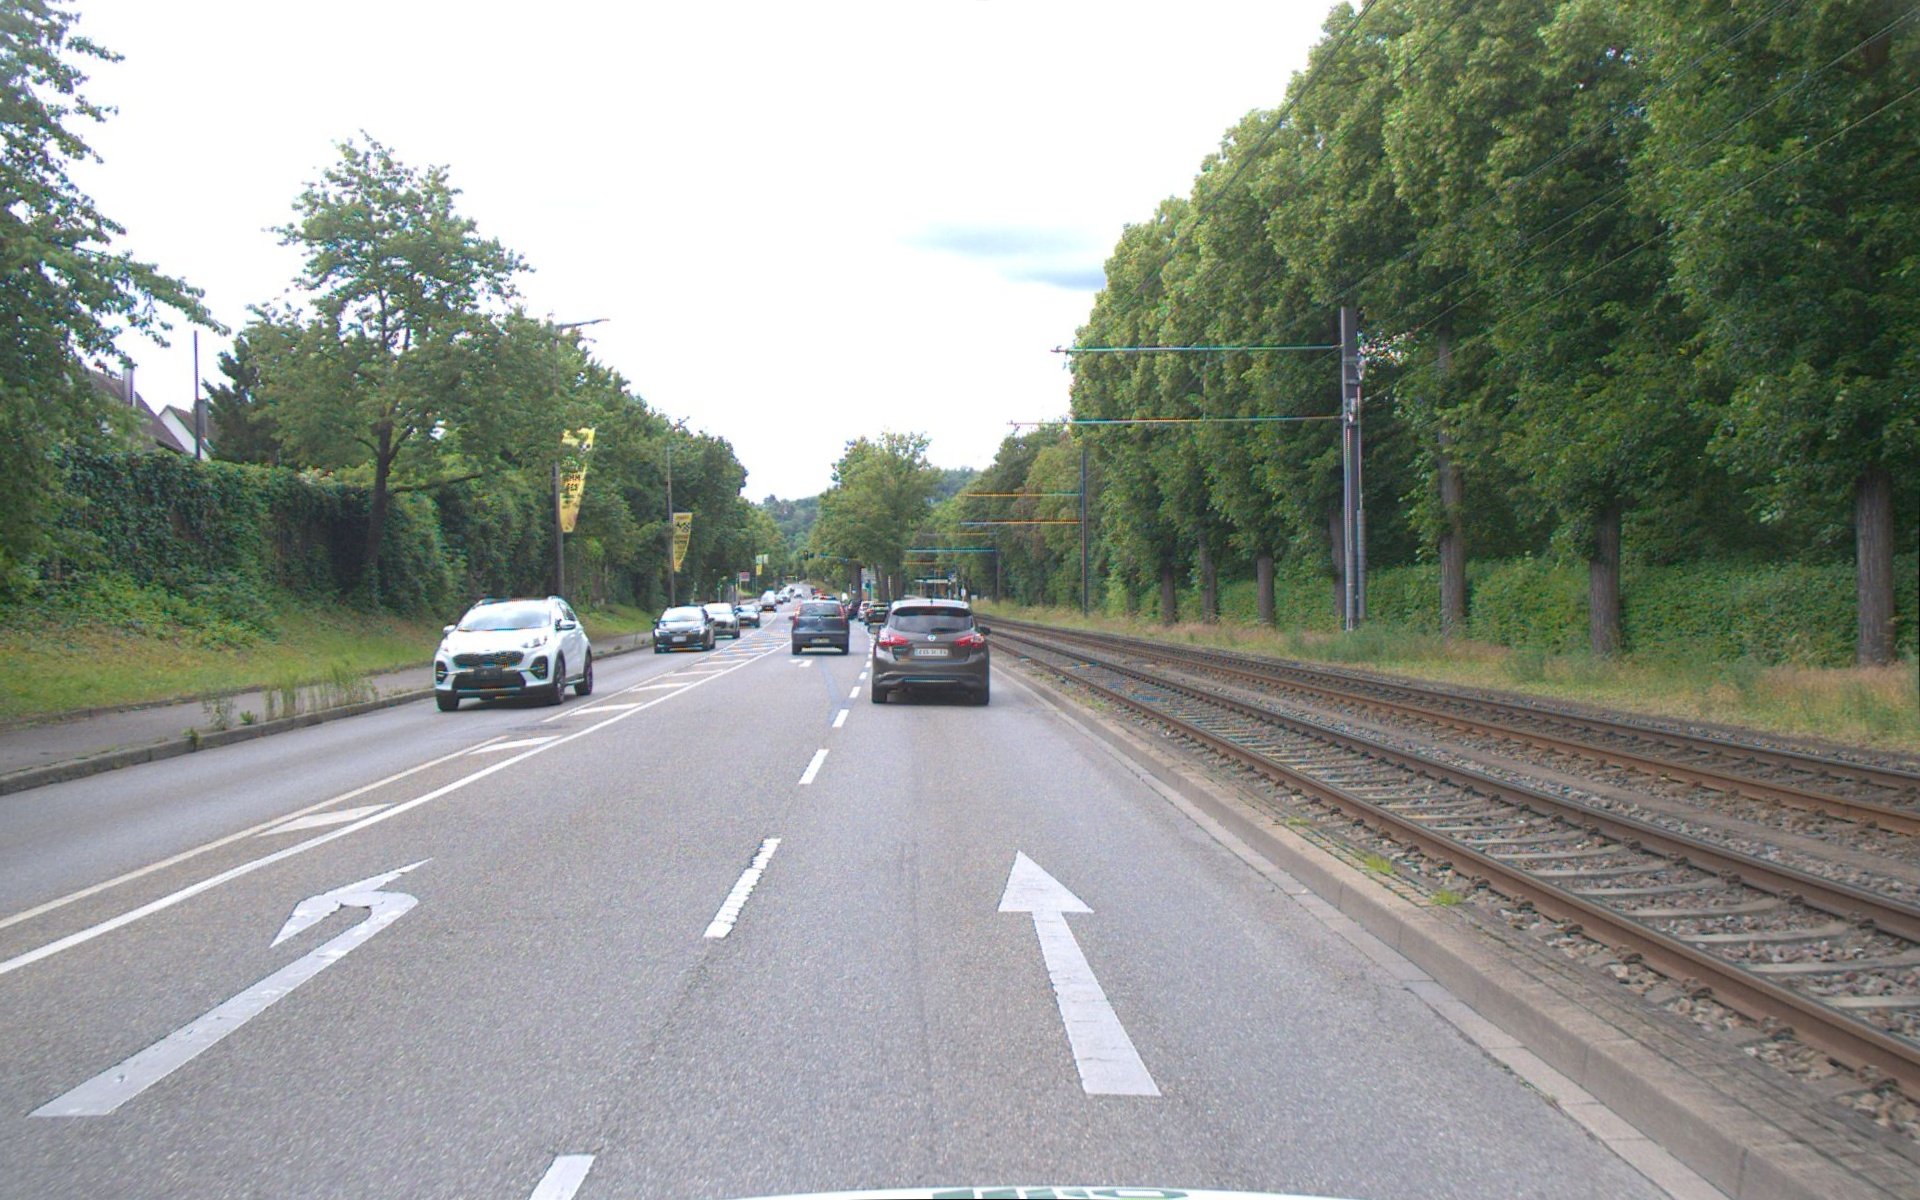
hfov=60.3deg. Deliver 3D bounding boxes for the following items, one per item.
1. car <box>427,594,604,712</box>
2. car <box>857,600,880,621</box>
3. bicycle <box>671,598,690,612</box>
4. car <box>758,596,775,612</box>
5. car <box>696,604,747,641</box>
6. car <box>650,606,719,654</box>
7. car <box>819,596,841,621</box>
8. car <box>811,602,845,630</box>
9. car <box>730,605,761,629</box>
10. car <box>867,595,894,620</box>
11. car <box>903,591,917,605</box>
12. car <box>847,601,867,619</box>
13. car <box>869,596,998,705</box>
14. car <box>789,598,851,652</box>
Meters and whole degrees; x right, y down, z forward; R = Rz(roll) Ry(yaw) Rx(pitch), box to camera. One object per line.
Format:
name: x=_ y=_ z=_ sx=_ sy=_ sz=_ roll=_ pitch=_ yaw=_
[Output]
car: x=-6.938 y=0.780 z=26.235 sx=1.805 sy=1.648 sz=4.156 roll=-2 pitch=0 yaw=-3
car: x=-6.854 y=0.824 z=124.610 sx=1.681 sy=1.577 sz=3.998 roll=0 pitch=-1 yaw=-2
bicycle: x=-22.648 y=0.373 z=134.135 sx=0.489 sy=1.127 sz=1.798 roll=0 pitch=0 yaw=28
car: x=-22.098 y=0.462 z=188.974 sx=1.681 sy=1.791 sz=3.996 roll=0 pitch=-1 yaw=-4
car: x=-10.251 y=0.949 z=71.287 sx=1.791 sy=1.482 sz=4.139 roll=-3 pitch=0 yaw=-4
car: x=-8.917 y=0.937 z=53.845 sx=1.731 sy=1.425 sz=4.212 roll=-3 pitch=0 yaw=-4
car: x=-10.081 y=0.696 z=128.184 sx=1.682 sy=1.896 sz=3.996 roll=0 pitch=-1 yaw=-5
car: x=-7.217 y=0.868 z=90.407 sx=1.681 sy=1.461 sz=3.998 roll=0 pitch=-1 yaw=-2
car: x=-13.359 y=1.058 z=103.200 sx=1.806 sy=1.400 sz=4.442 roll=-3 pitch=0 yaw=-6
car: x=-5.033 y=0.483 z=104.780 sx=1.681 sy=1.577 sz=3.998 roll=0 pitch=-1 yaw=-2
car: x=-6.336 y=-0.290 z=209.762 sx=1.681 sy=1.692 sz=3.704 roll=0 pitch=-1 yaw=-4
car: x=-9.094 y=0.889 z=145.904 sx=1.681 sy=1.577 sz=3.998 roll=0 pitch=-1 yaw=-2
car: x=-0.420 y=0.709 z=25.483 sx=1.813 sy=1.519 sz=3.999 roll=1 pitch=0 yaw=-1
car: x=-3.957 y=0.682 z=46.964 sx=1.666 sy=1.469 sz=3.996 roll=0 pitch=0 yaw=-4
